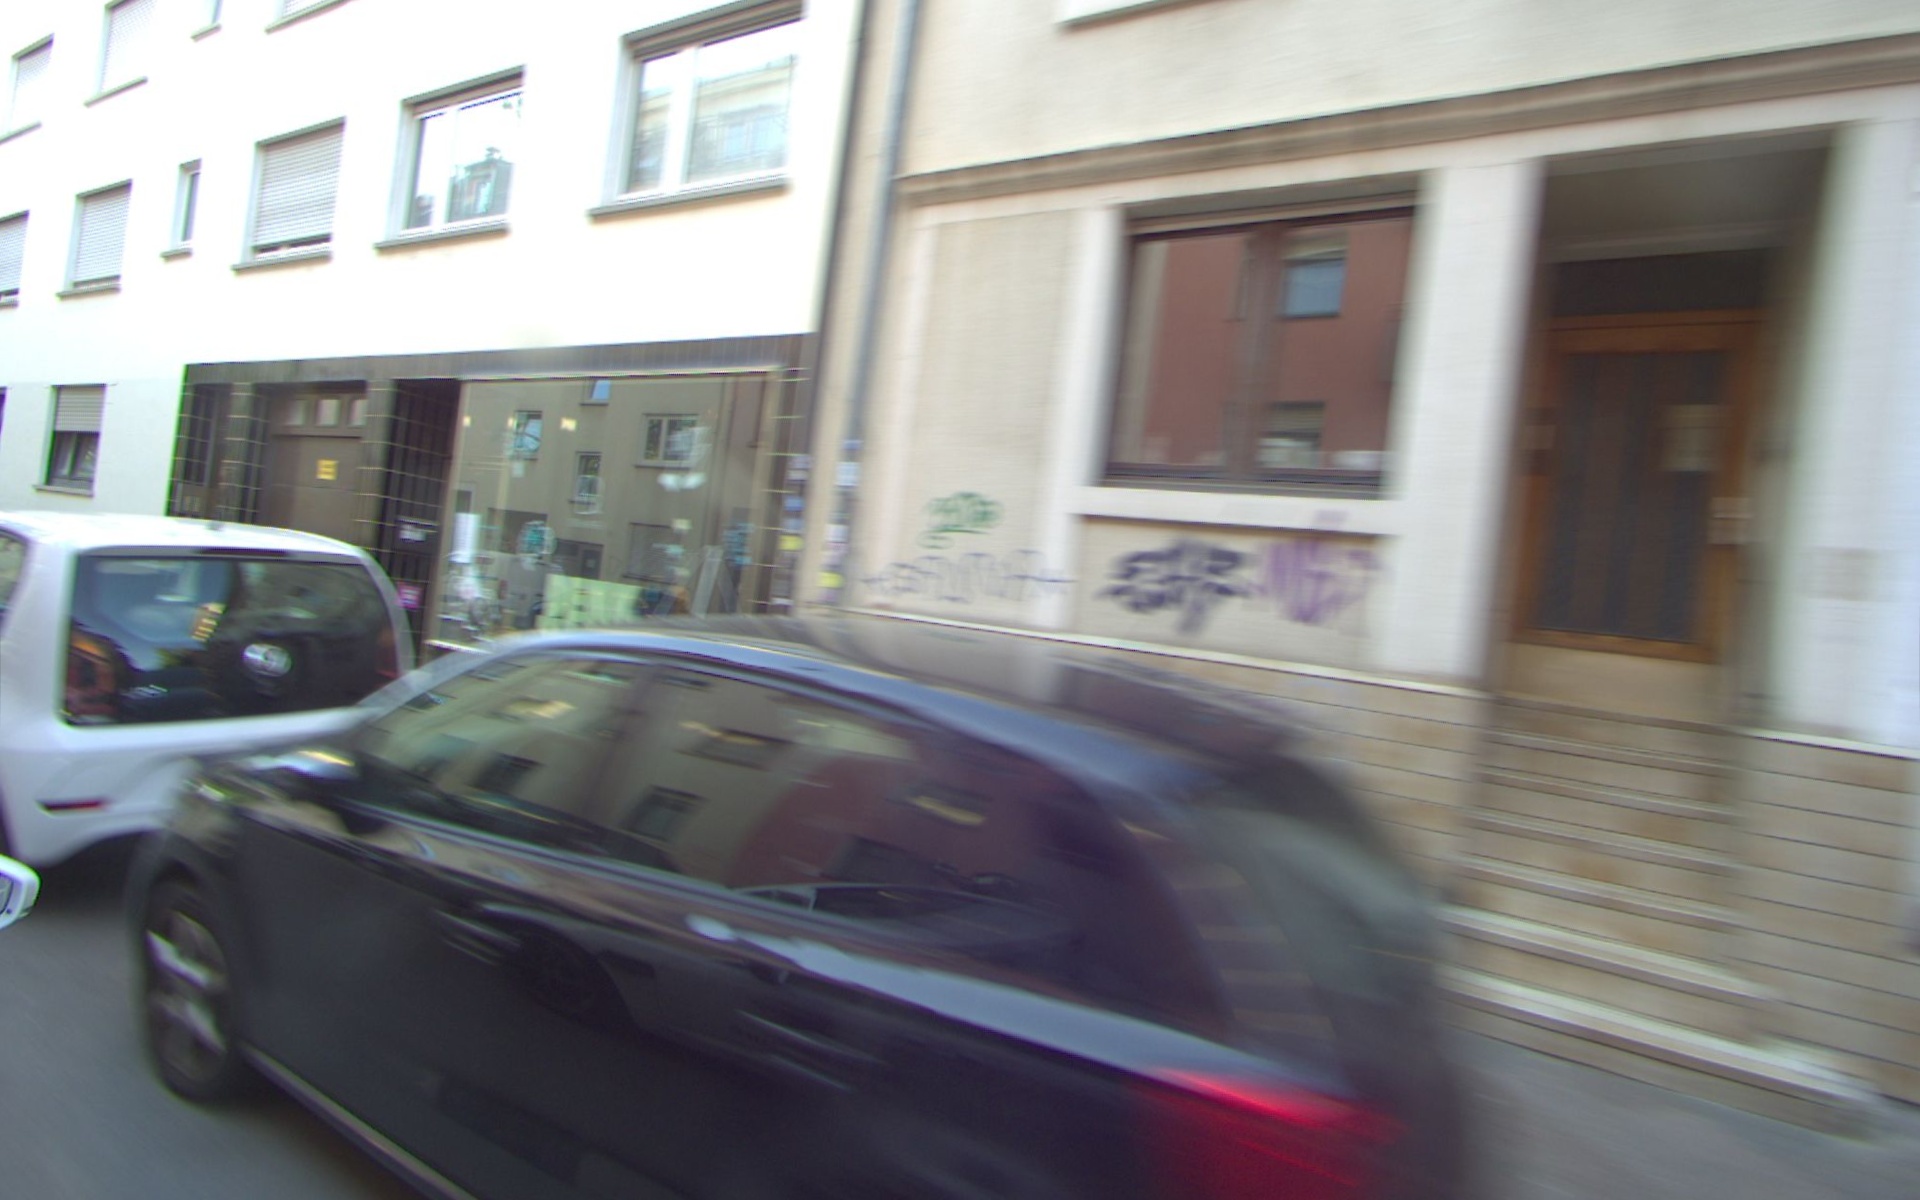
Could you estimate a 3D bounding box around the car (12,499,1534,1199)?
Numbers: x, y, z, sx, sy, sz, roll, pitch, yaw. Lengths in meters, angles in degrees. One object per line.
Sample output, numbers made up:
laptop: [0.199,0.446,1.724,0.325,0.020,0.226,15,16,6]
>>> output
car: [-0.745,0.705,2.766,3.871,1.526,1.677,7,1,31]

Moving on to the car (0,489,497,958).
car: [-4.332,0.280,5.047,3.871,1.526,1.677,7,1,31]
